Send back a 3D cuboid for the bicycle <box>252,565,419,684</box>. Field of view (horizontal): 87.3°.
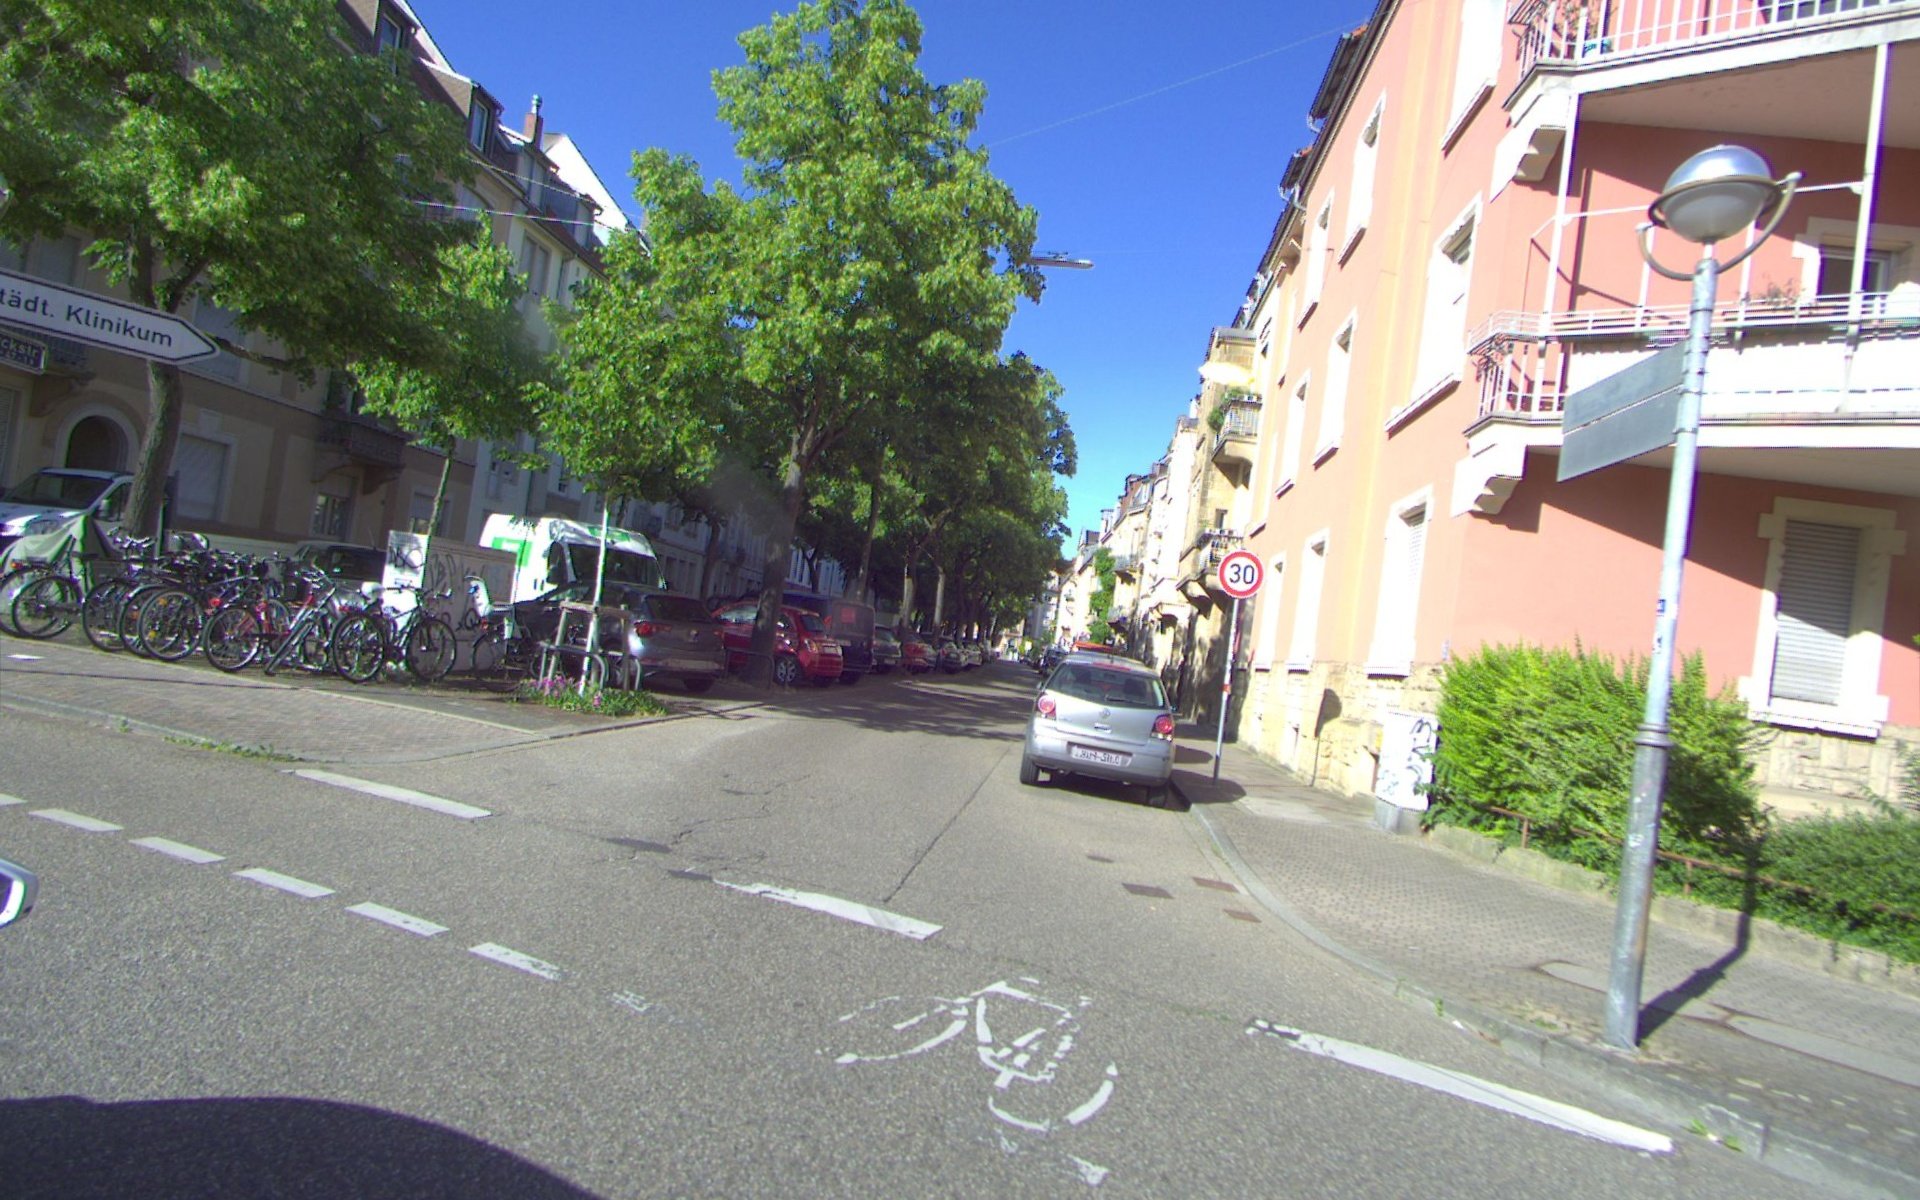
[{"bbox_3d":[-6.458,0.277,10.501,0.411,1.102,1.575,9,-1,10],"label":"bicycle"}]

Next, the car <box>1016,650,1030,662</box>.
[{"bbox_3d":[9.862,8.729,157.701,1.907,1.527,4.004,9,-2,3],"label":"car"}]

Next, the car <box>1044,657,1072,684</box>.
[{"bbox_3d":[6.759,4.809,68.954,1.656,1.474,3.501,9,-2,7],"label":"car"}]

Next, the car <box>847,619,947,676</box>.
[{"bbox_3d":[-2.312,1.703,36.456,1.680,1.486,3.340,11,-2,-45],"label":"car"}]

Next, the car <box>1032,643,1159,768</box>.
[{"bbox_3d":[2.246,1.680,17.046,1.656,1.580,4.301,9,-2,7],"label":"car"}]

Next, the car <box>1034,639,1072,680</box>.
[{"bbox_3d":[7.490,4.768,81.346,2.386,2.878,4.870,9,-2,3],"label":"car"}]

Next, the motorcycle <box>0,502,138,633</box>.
[{"bbox_3d":[-10.595,-0.389,11.703,1.679,1.285,0.539,9,0,12],"label":"motorcycle"}]

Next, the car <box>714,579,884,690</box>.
[{"bbox_3d":[-3.622,0.760,22.494,3.331,1.886,1.685,8,-2,36],"label":"car"}]

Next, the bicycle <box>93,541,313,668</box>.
[{"bbox_3d":[-7.679,0.081,10.321,0.645,1.101,1.731,9,-1,8],"label":"bicycle"}]

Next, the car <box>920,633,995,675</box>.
[{"bbox_3d":[-0.159,2.649,49.426,1.680,1.486,3.340,11,-2,-45],"label":"car"}]

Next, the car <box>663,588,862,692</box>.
[{"bbox_3d":[-3.902,0.805,19.980,3.321,1.463,1.690,9,-2,21],"label":"car"}]

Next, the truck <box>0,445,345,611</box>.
[{"bbox_3d":[-15.598,-1.219,19.771,2.098,2.318,6.630,7,-2,8],"label":"truck"}]

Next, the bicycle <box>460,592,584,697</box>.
[{"bbox_3d":[-5.079,0.529,11.773,0.411,1.098,1.528,9,-1,10],"label":"bicycle"}]

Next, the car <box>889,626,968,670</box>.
[{"bbox_3d":[-1.499,2.234,47.204,1.680,1.486,3.340,11,-2,-45],"label":"car"}]

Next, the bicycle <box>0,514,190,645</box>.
[{"bbox_3d":[-9.117,-0.169,10.514,0.528,1.206,1.681,9,-1,8],"label":"bicycle"}]

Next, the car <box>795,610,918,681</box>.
[{"bbox_3d":[-3.068,1.302,29.368,1.680,1.486,3.340,11,-2,-45],"label":"car"}]

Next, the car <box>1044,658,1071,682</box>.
[{"bbox_3d":[7.249,5.194,74.573,1.656,1.474,3.501,9,-2,7],"label":"car"}]

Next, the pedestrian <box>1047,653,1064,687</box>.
[{"bbox_3d":[4.957,3.623,52.194,0.638,1.680,0.651,9,-1,7],"label":"pedestrian"}]

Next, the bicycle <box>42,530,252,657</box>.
[{"bbox_3d":[-8.360,-0.025,10.443,0.578,1.140,1.604,9,-1,8],"label":"bicycle"}]

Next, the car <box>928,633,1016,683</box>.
[{"bbox_3d":[0.481,2.423,42.172,1.680,1.486,3.340,11,-2,-45],"label":"car"}]

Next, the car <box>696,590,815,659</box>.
[{"bbox_3d":[-6.766,0.801,33.253,3.438,1.684,1.686,8,-2,32],"label":"car"}]

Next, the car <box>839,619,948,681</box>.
[{"bbox_3d":[-2.247,1.646,33.390,1.680,1.486,3.340,11,-2,-45],"label":"car"}]

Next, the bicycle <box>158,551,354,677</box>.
[{"bbox_3d":[-7.055,0.171,10.189,0.491,1.115,1.652,9,-1,10],"label":"bicycle"}]

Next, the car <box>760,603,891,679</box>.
[{"bbox_3d":[-3.684,1.094,27.225,1.680,1.486,3.340,11,-2,-45],"label":"car"}]

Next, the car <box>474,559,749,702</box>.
[{"bbox_3d":[-5.237,0.431,15.010,3.857,1.463,1.687,8,-2,32],"label":"car"}]

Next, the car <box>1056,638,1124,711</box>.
[{"bbox_3d":[4.455,2.522,34.676,1.906,2.067,4.281,9,-2,7],"label":"car"}]

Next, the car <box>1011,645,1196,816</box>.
[{"bbox_3d":[1.645,1.415,11.956,1.656,1.462,3.551,9,-2,7],"label":"car"}]

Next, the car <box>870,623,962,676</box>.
[{"bbox_3d":[-1.760,1.921,39.587,1.680,1.486,3.340,11,-2,-45],"label":"car"}]

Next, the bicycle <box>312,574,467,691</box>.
[{"bbox_3d":[-5.987,0.357,10.654,0.411,1.098,1.528,9,-1,10],"label":"bicycle"}]

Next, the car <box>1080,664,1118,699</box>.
[{"bbox_3d":[7.115,4.153,51.806,1.656,1.474,3.501,9,-2,7],"label":"car"}]

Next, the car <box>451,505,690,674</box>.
[{"bbox_3d":[-8.055,-0.353,20.328,2.092,2.629,6.300,10,-2,-42],"label":"car"}]
